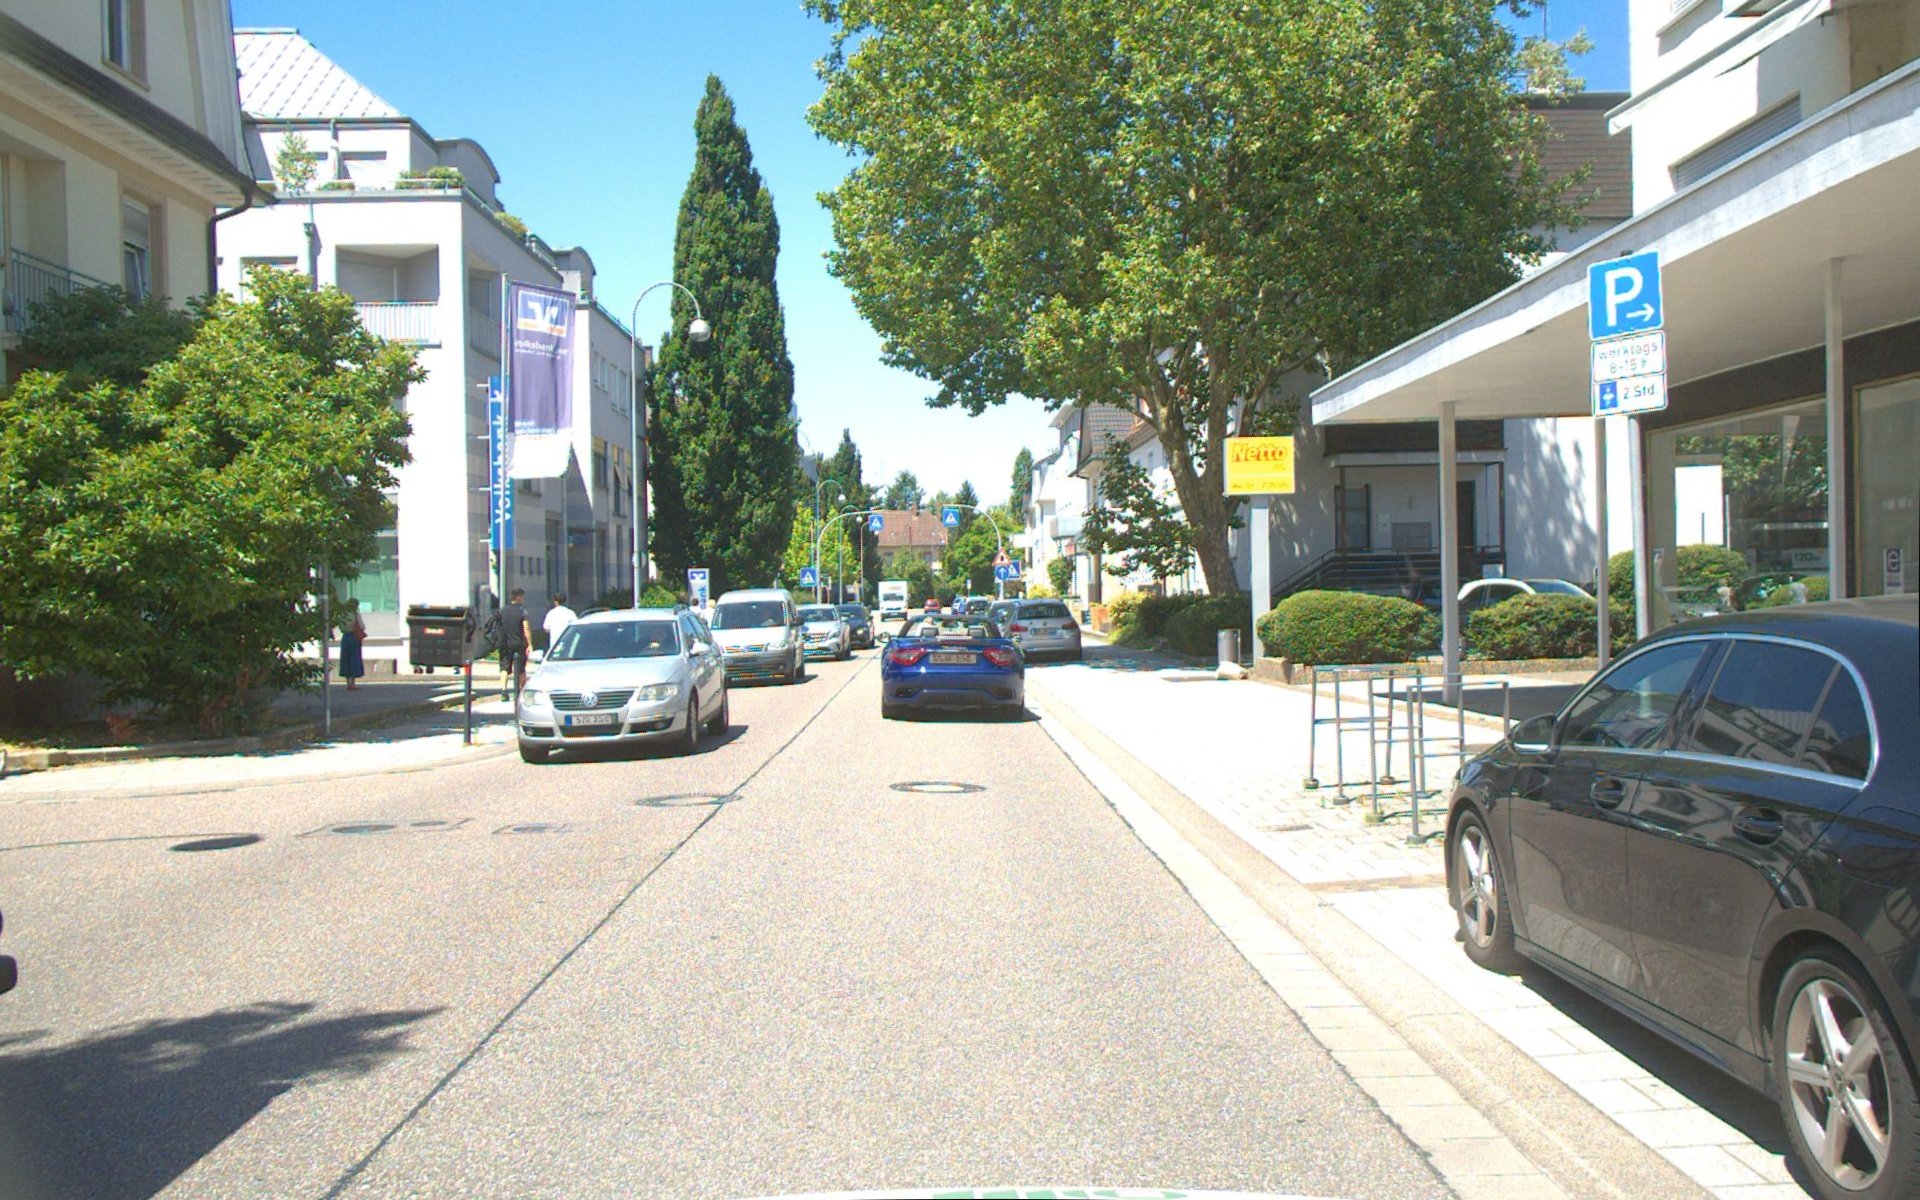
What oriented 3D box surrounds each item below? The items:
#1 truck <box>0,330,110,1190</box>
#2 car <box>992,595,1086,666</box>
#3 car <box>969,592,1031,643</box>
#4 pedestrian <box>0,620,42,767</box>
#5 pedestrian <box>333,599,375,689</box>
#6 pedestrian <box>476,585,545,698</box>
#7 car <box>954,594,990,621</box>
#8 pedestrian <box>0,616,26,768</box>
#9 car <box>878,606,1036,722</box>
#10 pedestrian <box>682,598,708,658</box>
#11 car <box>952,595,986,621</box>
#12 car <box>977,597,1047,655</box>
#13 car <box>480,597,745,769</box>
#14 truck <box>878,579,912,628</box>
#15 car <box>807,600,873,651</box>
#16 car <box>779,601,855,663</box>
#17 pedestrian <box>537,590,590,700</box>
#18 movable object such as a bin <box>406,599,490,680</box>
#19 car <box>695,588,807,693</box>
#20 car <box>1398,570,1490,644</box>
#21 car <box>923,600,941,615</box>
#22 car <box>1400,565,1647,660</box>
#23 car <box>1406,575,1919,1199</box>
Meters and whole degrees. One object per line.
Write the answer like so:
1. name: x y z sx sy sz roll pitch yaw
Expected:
1. truck: -3.272 0.442 2.255 1.768 2.154 4.714 -3 1 -1
2. car: 1.868 0.687 40.373 1.936 1.475 4.348 -3 1 -1
3. car: 1.383 0.597 58.783 1.936 1.584 4.348 -3 1 -1
4. pedestrian: -9.557 0.923 16.418 0.587 1.395 0.691 -3 2 -19
5. pedestrian: -11.242 0.823 30.685 0.668 1.652 0.712 1 -2 -17
6. pedestrian: -7.172 0.666 26.434 0.867 1.780 0.818 0 -2 -1
7. car: 0.670 0.431 97.298 1.911 1.502 4.136 -3 0 -2
8. pedestrian: -9.324 0.878 15.723 0.587 1.395 0.691 -3 2 -19
9. car: -0.120 0.791 22.611 1.936 1.422 4.625 0 0 -2
10. pedestrian: -7.145 0.746 44.580 0.575 1.602 0.781 -1 0 -2
11. car: 0.550 0.492 104.195 1.911 1.502 4.136 -3 0 -2
12. car: 1.617 0.795 52.614 1.936 1.584 4.348 -3 1 -1
13. car: -3.603 0.819 18.065 1.910 1.535 4.795 -3 -1 -1
14. truck: -5.072 0.232 127.549 2.373 3.542 6.999 -3 0 -3
15. car: -3.899 0.807 54.449 1.911 1.502 4.136 -3 0 -2
16. car: -3.801 0.822 44.461 1.734 1.502 4.136 -3 0 -2
17. pedestrian: -6.348 0.721 26.510 0.618 1.720 0.961 0 -2 -1
18. movable object such as a bin: -10.475 0.792 33.898 1.330 1.520 1.296 -3 2 -5
19. car: -3.995 0.720 32.229 1.734 1.798 4.136 -3 1 -2
20. car: 10.977 0.132 37.696 1.804 1.478 4.003 -4 0 15
21. car: -2.918 0.785 170.836 1.734 1.502 4.136 -1 -1 -2
22. car: 10.005 0.260 29.650 1.824 1.478 3.962 -4 -1 -28
23. car: 2.906 0.654 5.151 1.807 1.439 4.162 -3 0 -1
